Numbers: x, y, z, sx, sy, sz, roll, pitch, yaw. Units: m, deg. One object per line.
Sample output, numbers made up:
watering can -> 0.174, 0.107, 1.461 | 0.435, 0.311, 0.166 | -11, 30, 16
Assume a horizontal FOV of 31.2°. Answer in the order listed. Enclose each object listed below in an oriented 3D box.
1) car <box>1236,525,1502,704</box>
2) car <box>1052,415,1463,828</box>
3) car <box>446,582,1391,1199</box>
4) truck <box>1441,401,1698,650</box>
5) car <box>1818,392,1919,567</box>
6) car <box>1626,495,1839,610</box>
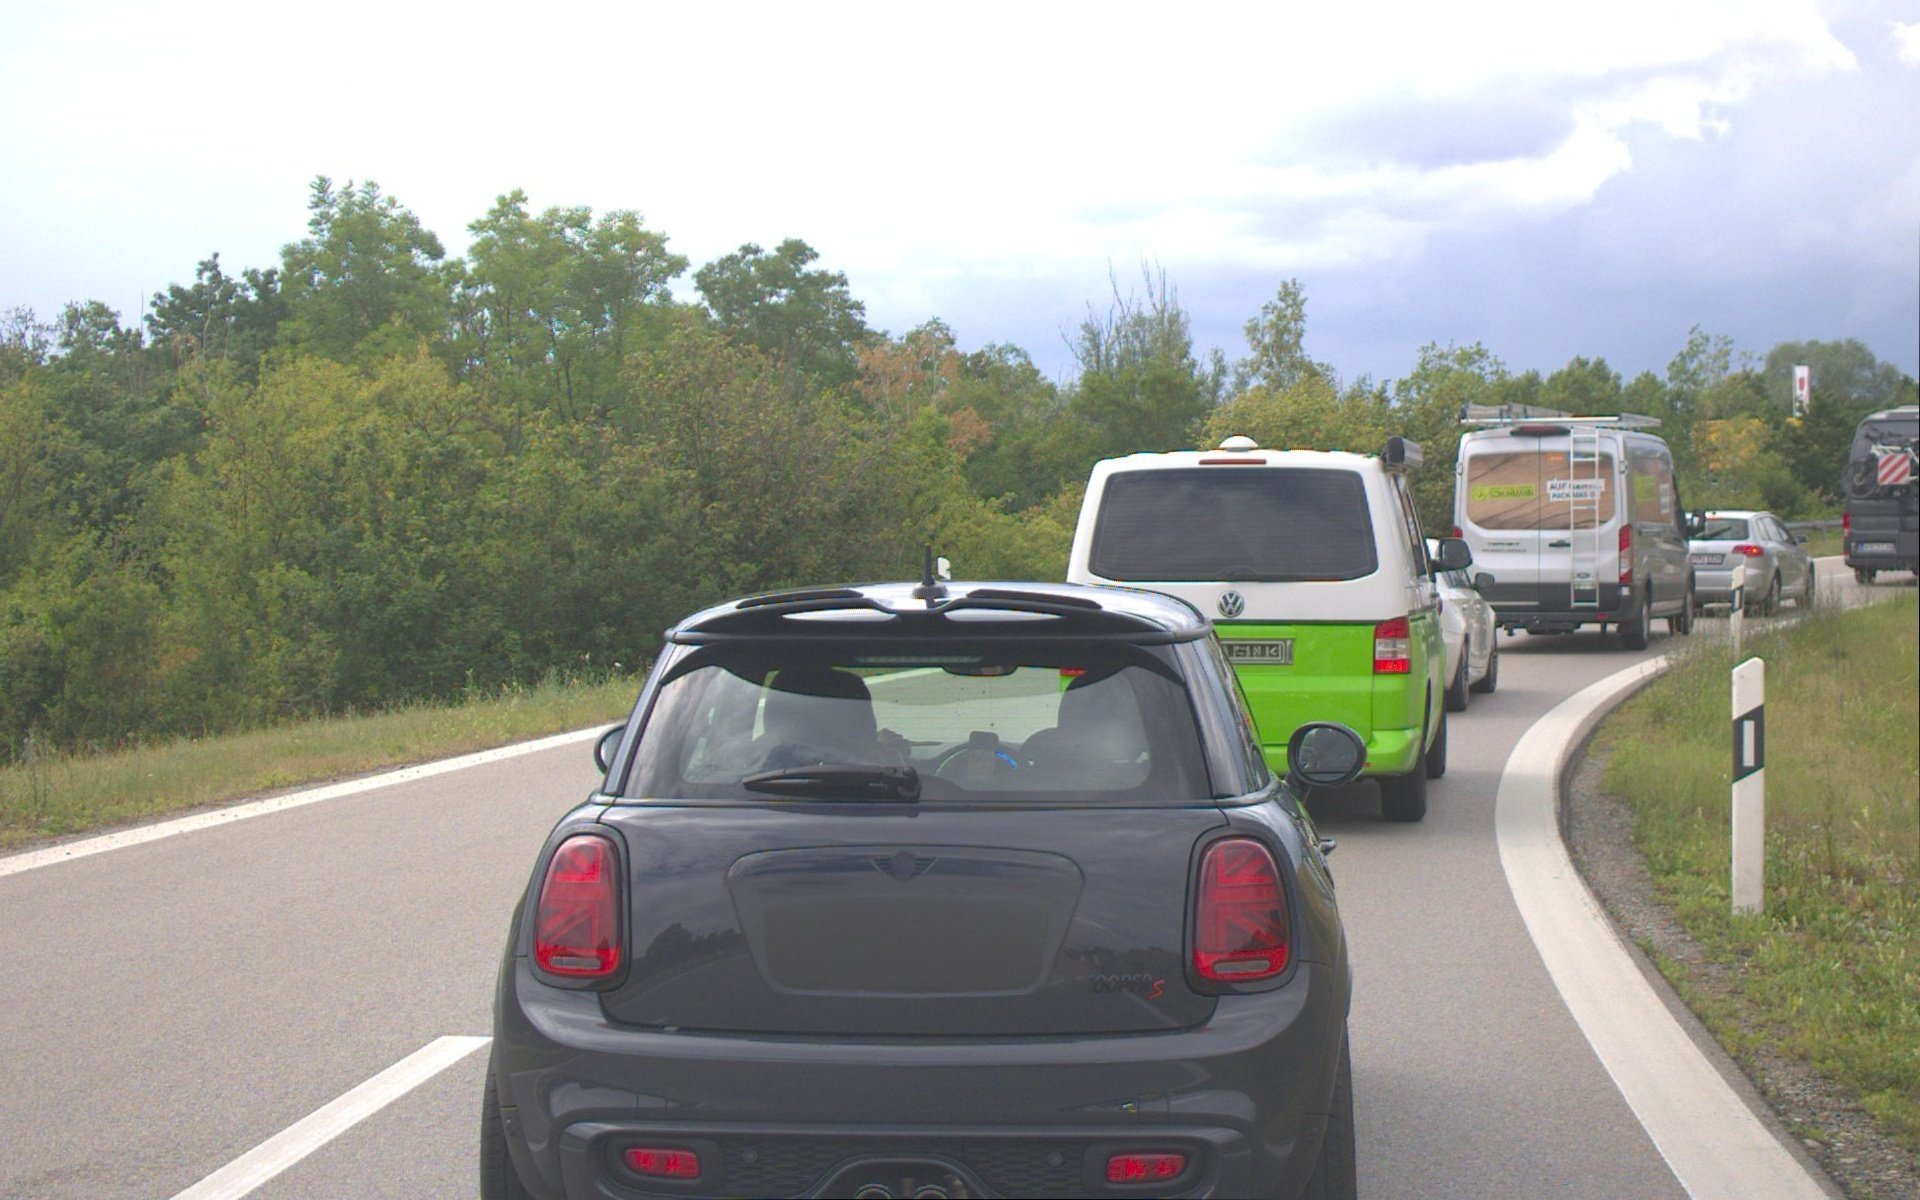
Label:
car -> 3.481, 0.102, 28.741 | 1.763, 1.394, 3.723 | 0, 0, 14
car -> 1.732, 0.085, 18.803 | 1.785, 2.007, 3.998 | 1, 0, 11
car -> 0.026, 0.669, 8.155 | 1.727, 1.409, 3.725 | 0, 0, 3
truck -> 7.057, -0.847, 39.367 | 2.180, 2.649, 5.104 | 0, 1, 18
car -> 15.904, -1.948, 56.869 | 2.109, 2.787, 3.993 | 1, 1, 33
car -> 10.703, -0.640, 47.462 | 1.869, 1.505, 3.994 | 0, 0, 28
